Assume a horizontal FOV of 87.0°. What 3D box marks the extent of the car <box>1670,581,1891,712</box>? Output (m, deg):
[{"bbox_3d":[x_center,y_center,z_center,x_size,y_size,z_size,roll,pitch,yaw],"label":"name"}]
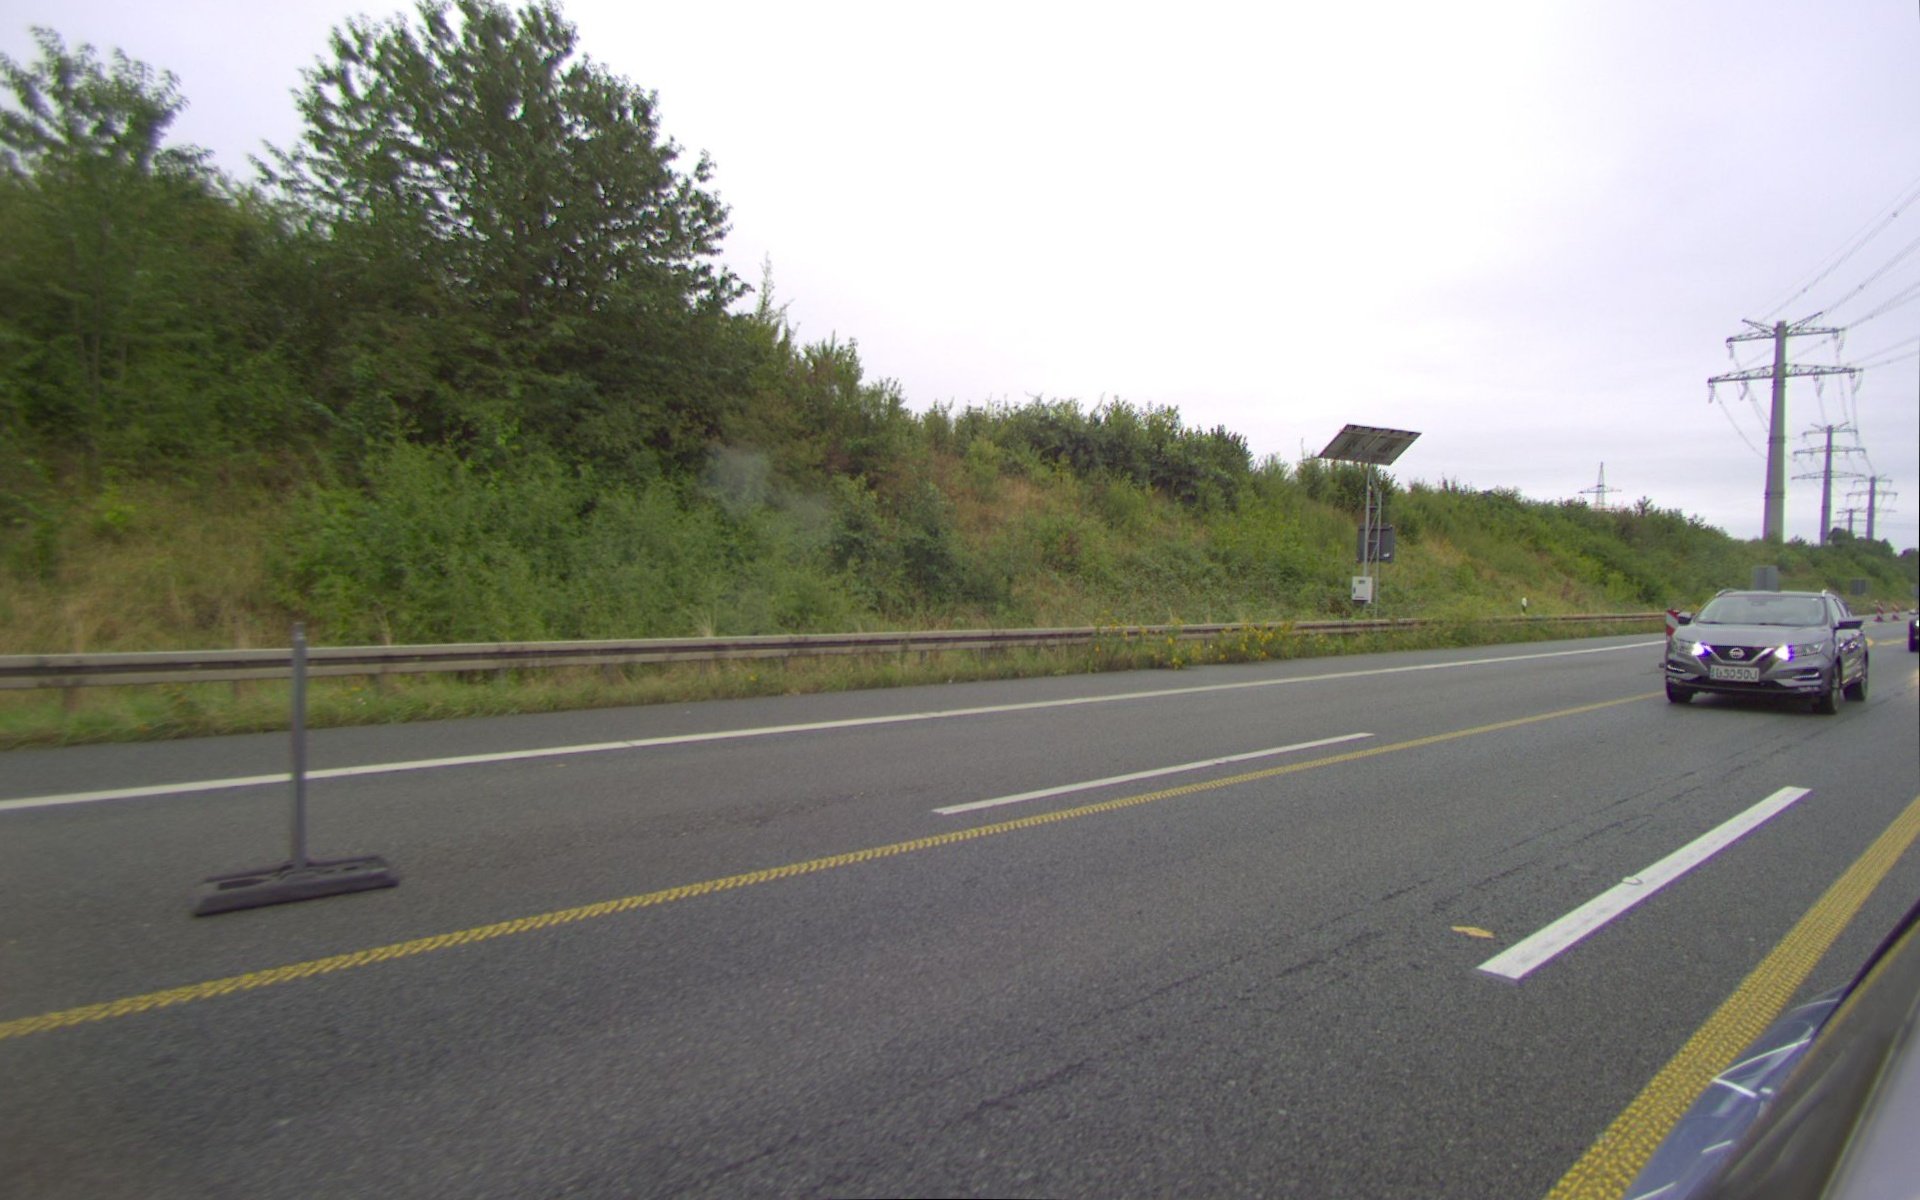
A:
[{"bbox_3d":[11.499,0.535,14.084,4.079,1.552,1.802,0,1,-42],"label":"car"}]
